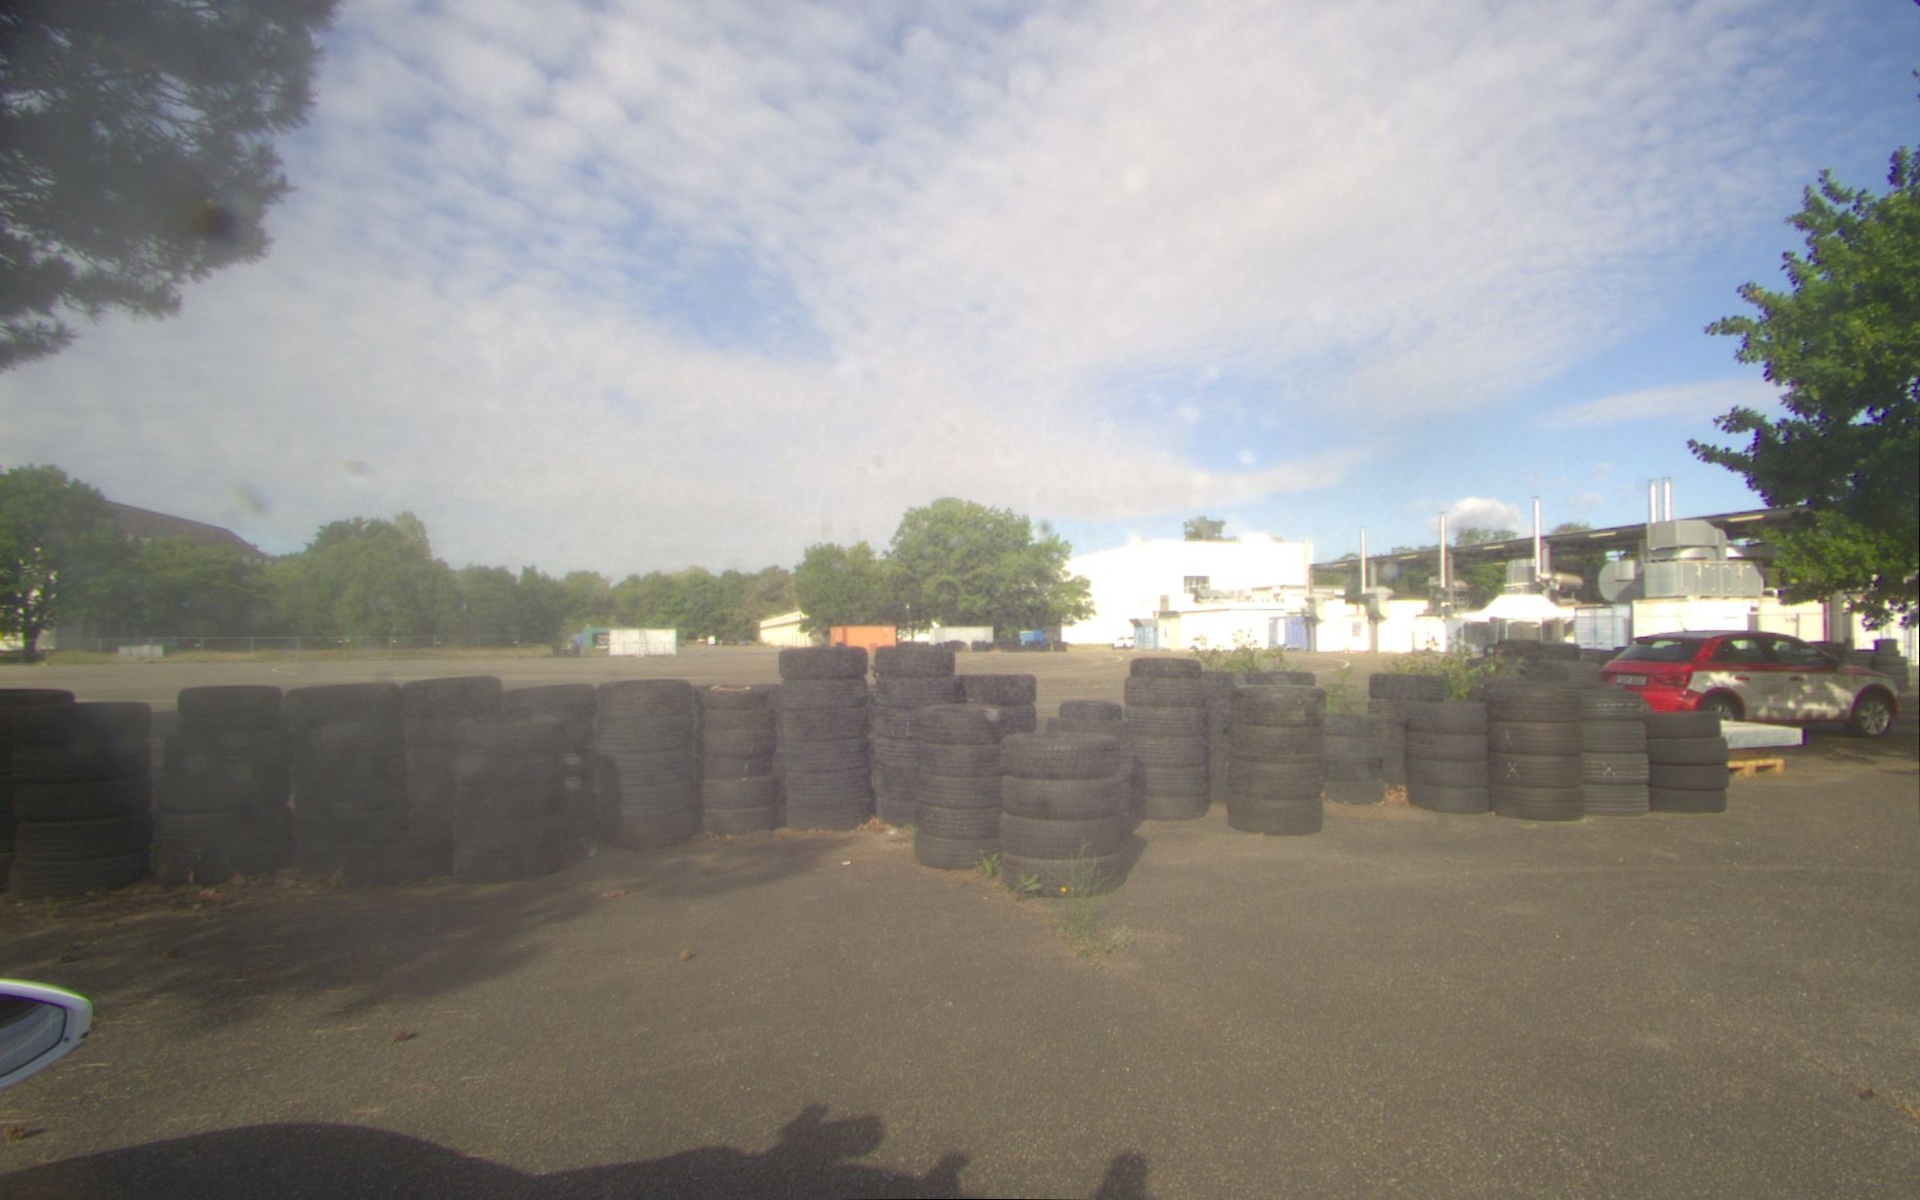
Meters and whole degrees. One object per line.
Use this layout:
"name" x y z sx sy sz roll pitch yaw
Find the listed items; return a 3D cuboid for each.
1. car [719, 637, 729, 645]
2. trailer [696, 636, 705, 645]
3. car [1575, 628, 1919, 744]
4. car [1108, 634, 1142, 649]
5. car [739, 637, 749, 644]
"car" -56.493 9.854 239.380 1.965 1.772 3.993 0 -2 -18
"trailer" -62.336 9.749 240.820 1.965 2.039 3.994 0 -2 -17
"car" 11.006 1.140 13.984 3.924 1.483 1.728 0 -2 -9
"car" 17.982 4.522 109.368 1.842 1.584 4.541 0 -2 -17
"car" -51.984 9.761 240.857 1.965 1.772 3.993 0 -2 -18
